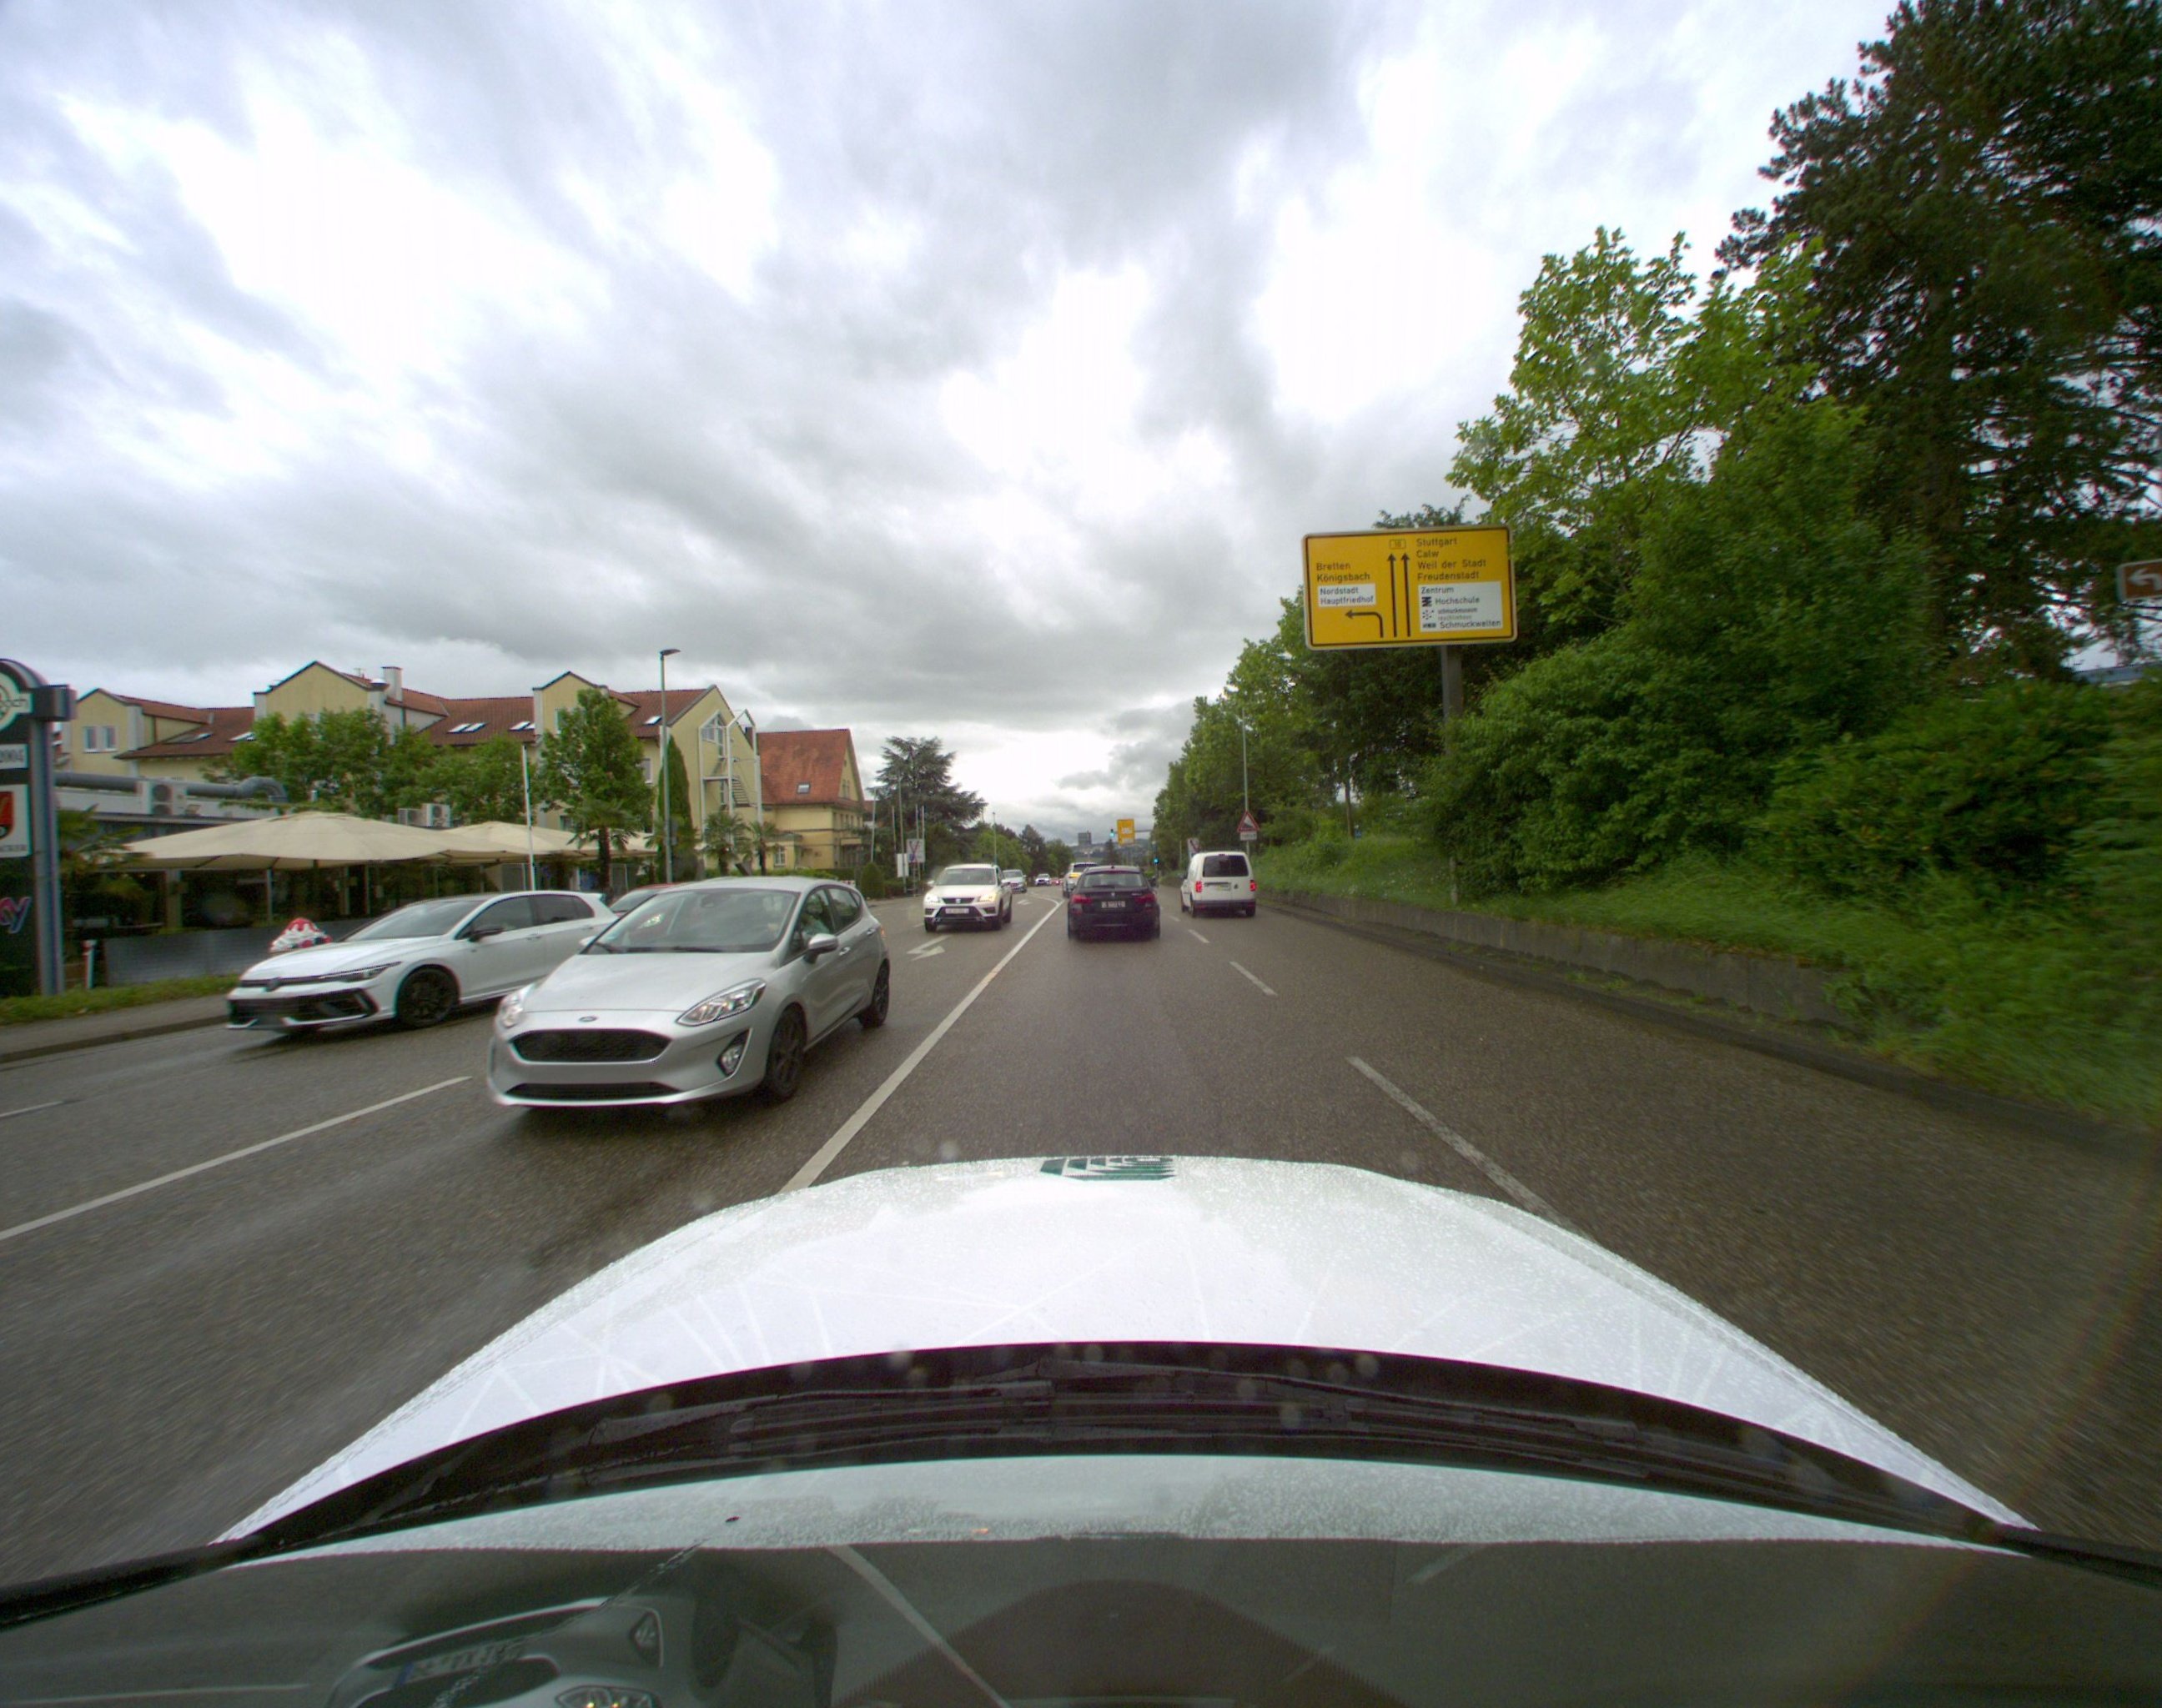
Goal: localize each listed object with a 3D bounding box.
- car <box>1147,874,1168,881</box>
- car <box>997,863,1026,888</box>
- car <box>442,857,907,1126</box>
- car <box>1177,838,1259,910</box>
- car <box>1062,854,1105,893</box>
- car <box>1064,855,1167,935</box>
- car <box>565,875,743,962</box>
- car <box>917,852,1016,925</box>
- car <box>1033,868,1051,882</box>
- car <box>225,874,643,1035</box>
[{"bbox_3d":[14.721,4.524,156.247,3.967,1.376,1.587,-2,-2,5],"label":"car"},{"bbox_3d":[-4.503,1.418,53.489,1.746,1.508,4.295,-3,-1,-4],"label":"car"},{"bbox_3d":[-2.669,0.767,6.468,1.596,1.441,3.950,-1,0,1],"label":"car"},{"bbox_3d":[3.852,0.503,23.472,1.758,1.877,3.807,-1,1,1],"label":"car"},{"bbox_3d":[0.149,0.884,39.291,1.861,1.673,4.003,-1,1,2],"label":"car"},{"bbox_3d":[0.739,0.768,17.305,1.891,1.441,4.003,-1,0,2],"label":"car"},{"bbox_3d":[-9.163,1.308,17.897,1.631,1.533,3.973,-4,-1,1],"label":"car"},{"bbox_3d":[-2.771,0.821,20.678,1.781,1.581,4.240,-2,-1,1],"label":"car"},{"bbox_3d":[-5.464,2.936,115.284,1.910,1.763,5.146,-5,-2,3],"label":"car"},{"bbox_3d":[-7.603,1.066,10.185,1.628,1.477,4.052,-3,-1,7],"label":"car"}]
